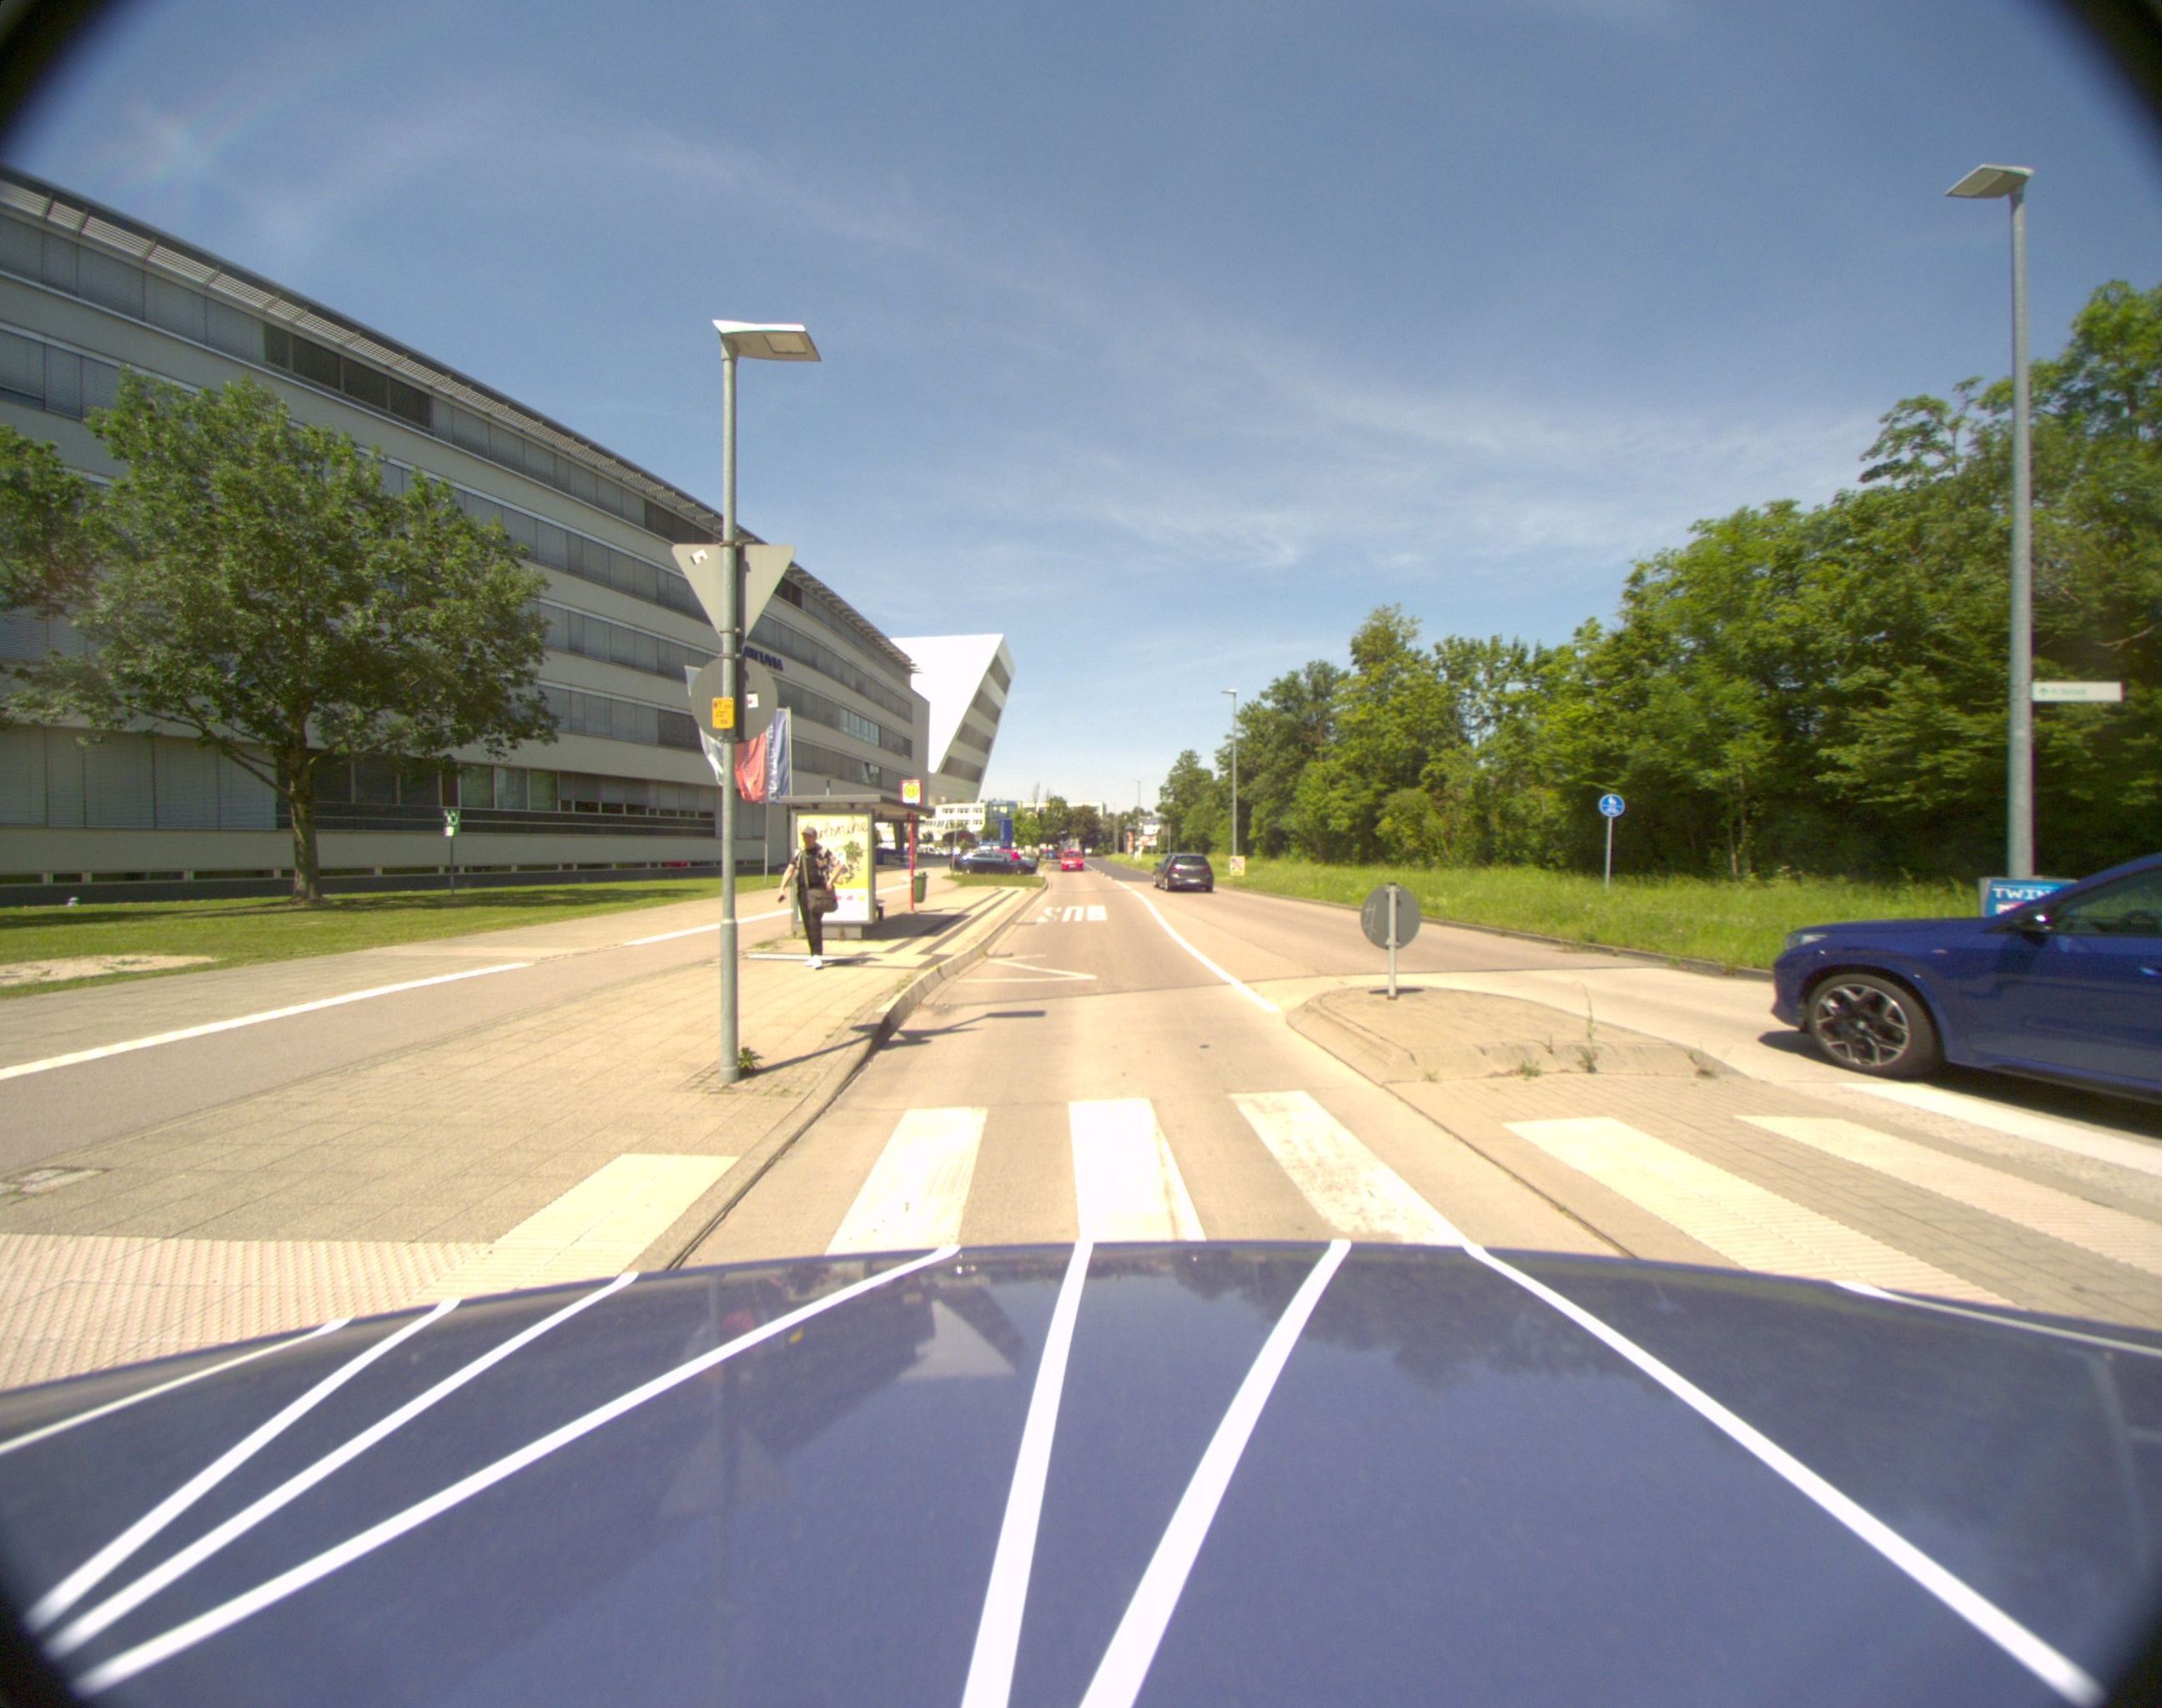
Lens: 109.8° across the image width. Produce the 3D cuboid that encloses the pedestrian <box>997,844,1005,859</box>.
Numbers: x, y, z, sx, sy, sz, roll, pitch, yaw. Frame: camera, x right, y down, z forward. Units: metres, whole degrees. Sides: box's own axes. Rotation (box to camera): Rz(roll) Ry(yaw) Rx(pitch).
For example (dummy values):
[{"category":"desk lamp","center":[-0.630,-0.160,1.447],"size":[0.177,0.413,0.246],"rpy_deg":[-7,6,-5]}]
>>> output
[{"category":"pedestrian","center":[-8.949,-0.317,85.232],"size":[0.844,1.691,0.775],"rpy_deg":[-1,1,-2]}]

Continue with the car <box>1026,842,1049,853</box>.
[{"category":"car","center":[-8.490,-1.269,149.085],"size":[4.204,1.964,1.704],"rpy_deg":[-1,1,5]}]

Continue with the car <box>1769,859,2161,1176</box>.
[{"category":"car","center":[6.443,0.819,3.679],"size":[2.000,1.586,4.319],"rpy_deg":[0,-1,-9]}]

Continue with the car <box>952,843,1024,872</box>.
[{"category":"car","center":[-5.479,0.181,45.155],"size":[3.997,1.645,1.839],"rpy_deg":[0,1,1]}]

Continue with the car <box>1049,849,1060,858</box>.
[{"category":"car","center":[-4.374,-0.083,124.561],"size":[1.802,1.490,3.998],"rpy_deg":[-1,1,-2]}]

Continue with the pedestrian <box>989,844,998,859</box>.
[{"category":"pedestrian","center":[-9.837,-0.313,85.198],"size":[0.844,1.650,0.775],"rpy_deg":[-1,1,-2]}]

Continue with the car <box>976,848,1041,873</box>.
[{"category":"car","center":[-4.474,0.379,47.273],"size":[3.817,1.477,1.655],"rpy_deg":[1,1,1]}]

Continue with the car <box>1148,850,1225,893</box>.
[{"category":"car","center":[3.934,0.626,29.045],"size":[1.999,1.470,4.287],"rpy_deg":[1,0,-5]}]

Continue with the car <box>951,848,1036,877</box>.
[{"category":"car","center":[-4.814,0.452,42.445],"size":[4.580,1.424,1.826],"rpy_deg":[2,1,-4]}]

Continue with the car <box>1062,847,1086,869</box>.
[{"category":"car","center":[-0.473,0.269,55.149],"size":[1.662,1.495,3.356],"rpy_deg":[-1,1,1]}]

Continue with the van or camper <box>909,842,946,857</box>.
[{"category":"van or camper","center":[-25.353,-0.732,125.927],"size":[5.699,2.376,1.704],"rpy_deg":[-1,1,5]}]

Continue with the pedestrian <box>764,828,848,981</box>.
[{"category":"pedestrian","center":[-3.403,0.598,9.463],"size":[0.710,1.812,0.826],"rpy_deg":[2,1,-1]}]

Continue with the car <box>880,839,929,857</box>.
[{"category":"car","center":[-27.259,-0.953,117.263],"size":[6.962,2.647,2.255],"rpy_deg":[-1,1,7]}]

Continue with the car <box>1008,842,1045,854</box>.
[{"category":"car","center":[-10.261,-1.123,143.311],"size":[6.492,2.137,2.165],"rpy_deg":[-1,1,5]}]

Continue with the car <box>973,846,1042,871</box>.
[{"category":"car","center":[-4.770,0.282,49.685],"size":[4.332,1.555,1.786],"rpy_deg":[1,1,0]}]
